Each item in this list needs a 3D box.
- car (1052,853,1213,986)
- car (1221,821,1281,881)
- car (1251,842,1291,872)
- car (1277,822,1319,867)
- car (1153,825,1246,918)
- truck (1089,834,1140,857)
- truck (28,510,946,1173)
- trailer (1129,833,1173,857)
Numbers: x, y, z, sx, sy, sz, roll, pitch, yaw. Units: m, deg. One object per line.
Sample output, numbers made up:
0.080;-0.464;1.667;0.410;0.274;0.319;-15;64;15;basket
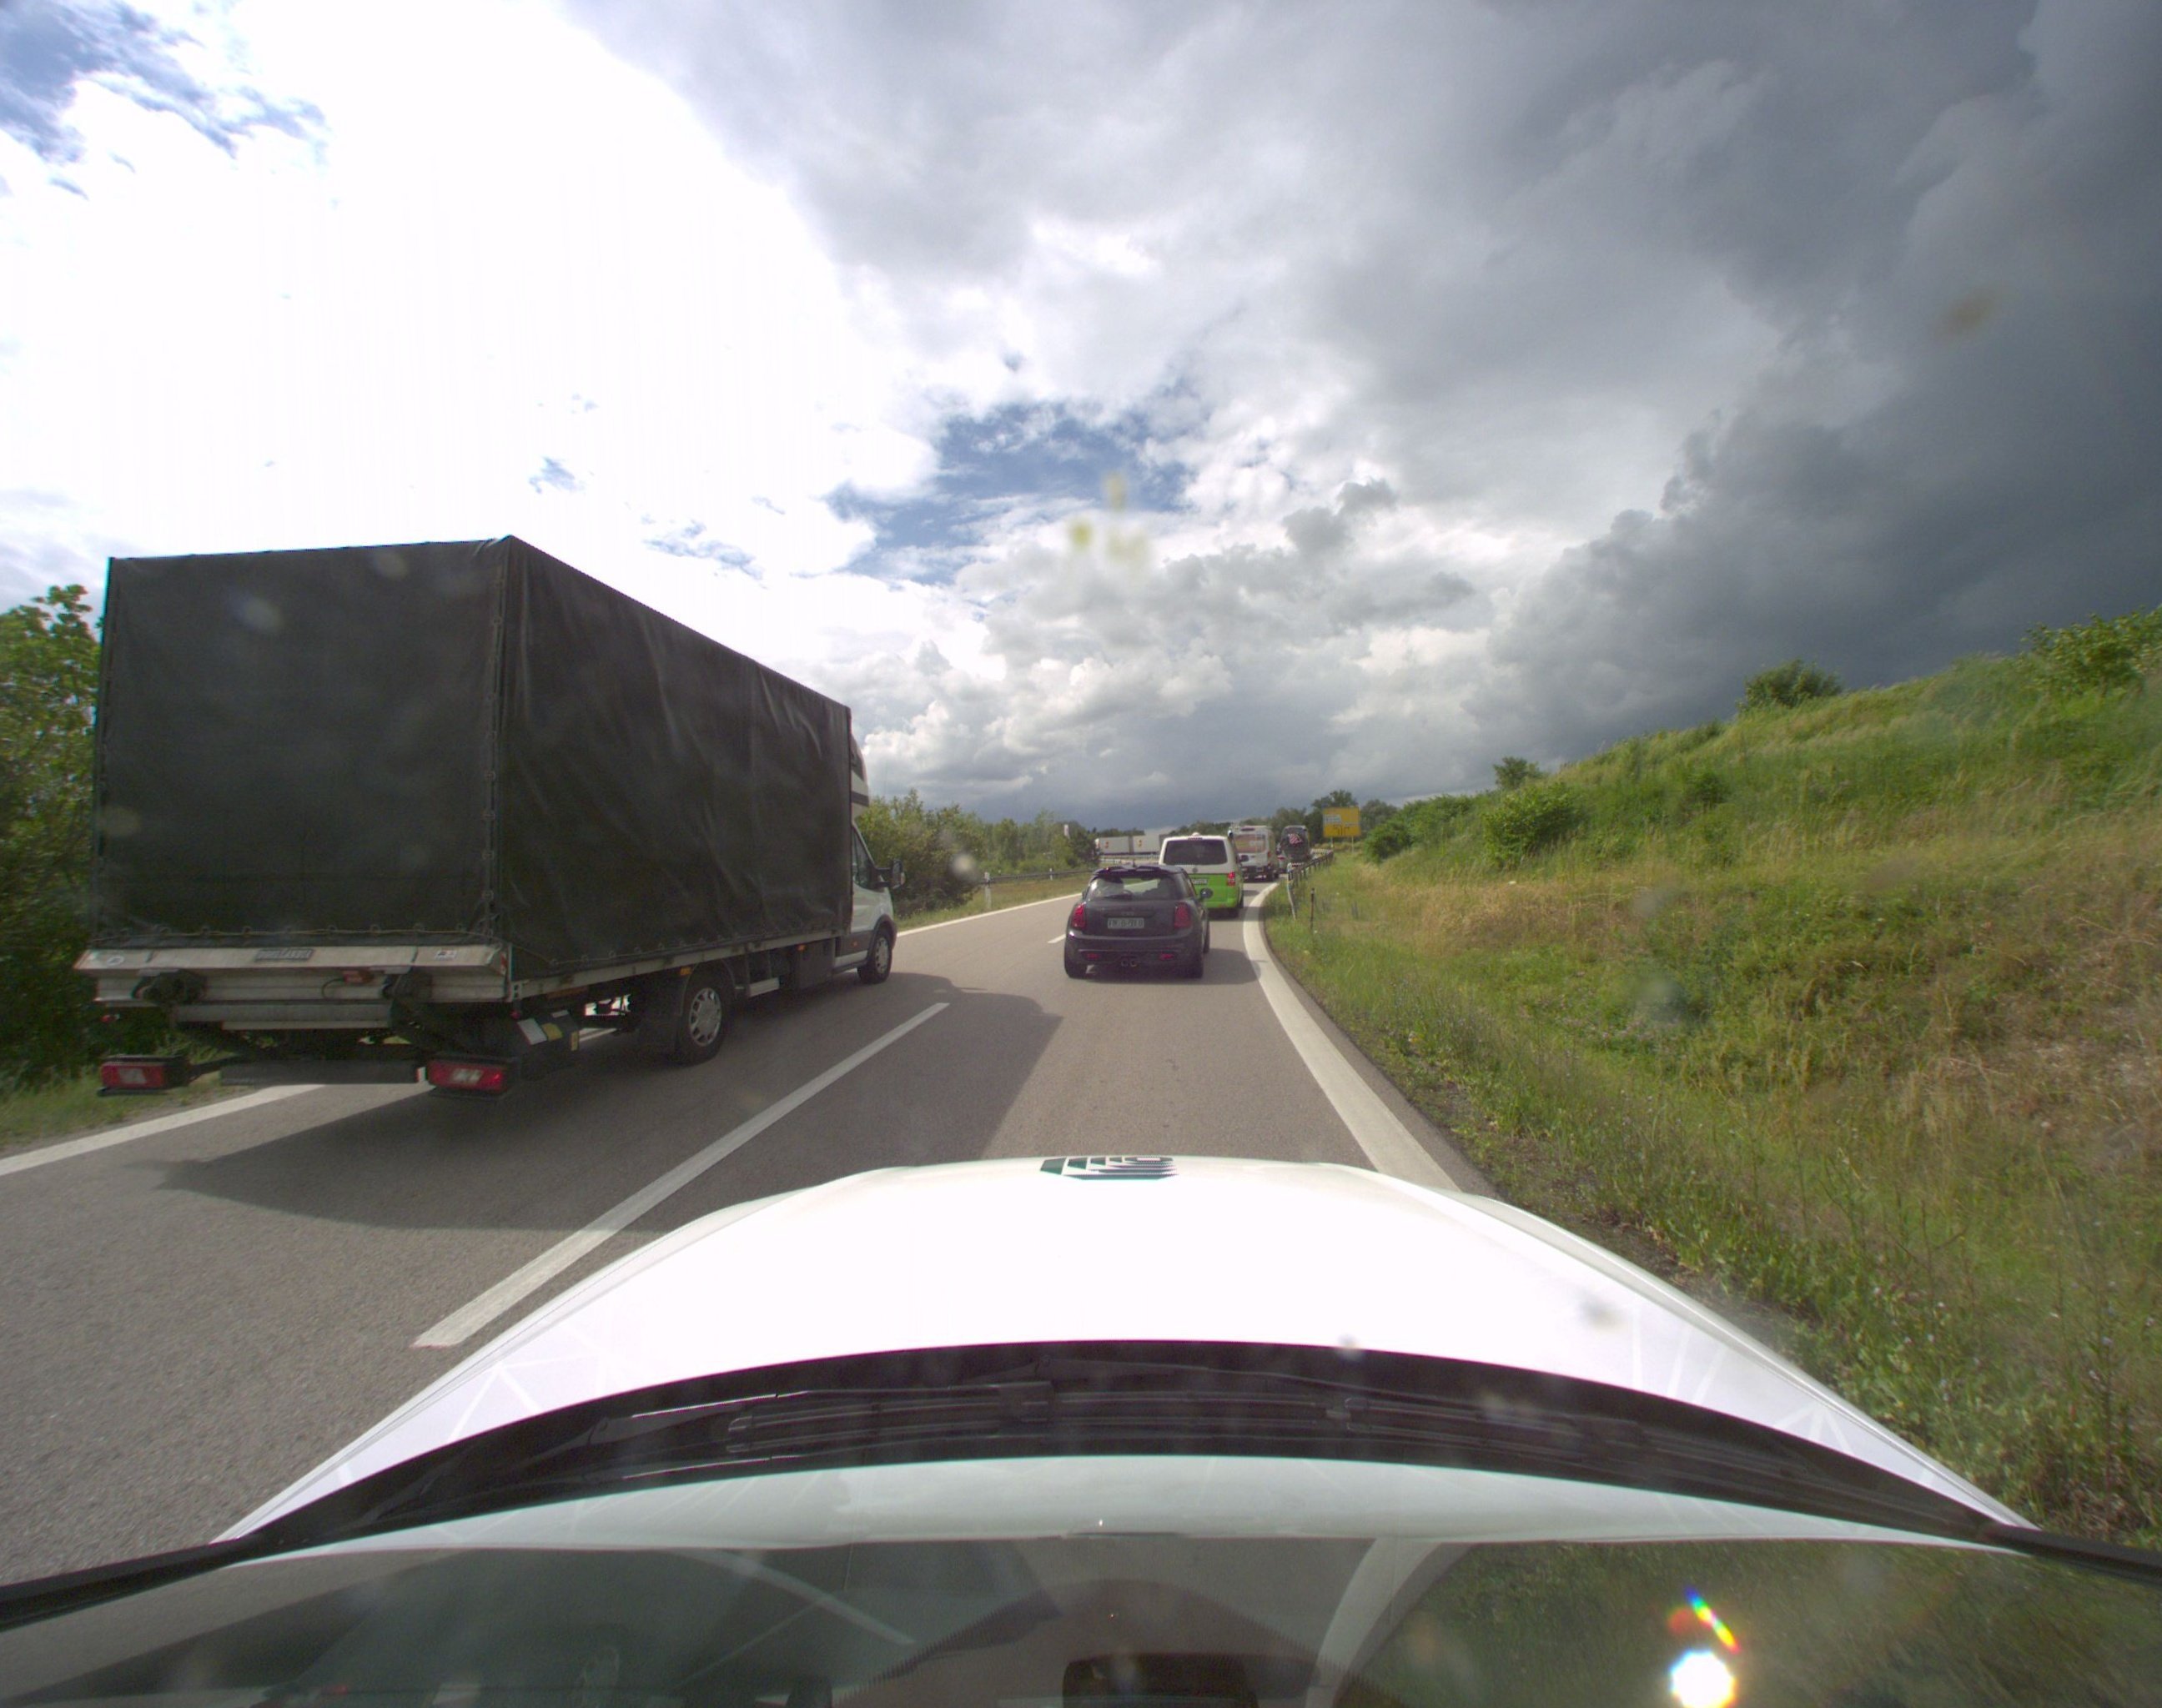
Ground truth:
0.893;0.777;11.496;1.788;1.546;3.749;-1;0;11;car
8.163;-0.110;38.703;2.194;2.622;5.559;-1;-1;17;car
11.087;0.200;47.311;1.978;1.642;3.946;-1;-1;17;car
15.840;-0.644;59.123;2.291;3.069;6.695;-1;-1;20;car
3.053;0.402;20.221;1.898;2.045;4.196;-1;0;13;car
5.994;-1.414;148.496;9.903;3.976;2.862;-1;-1;43;truck
-3.624;-0.021;7.737;2.546;3.168;7.483;-1;-1;7;truck
12.072;-1.550;141.542;3.057;3.898;8.682;0;-1;-32;trailer
